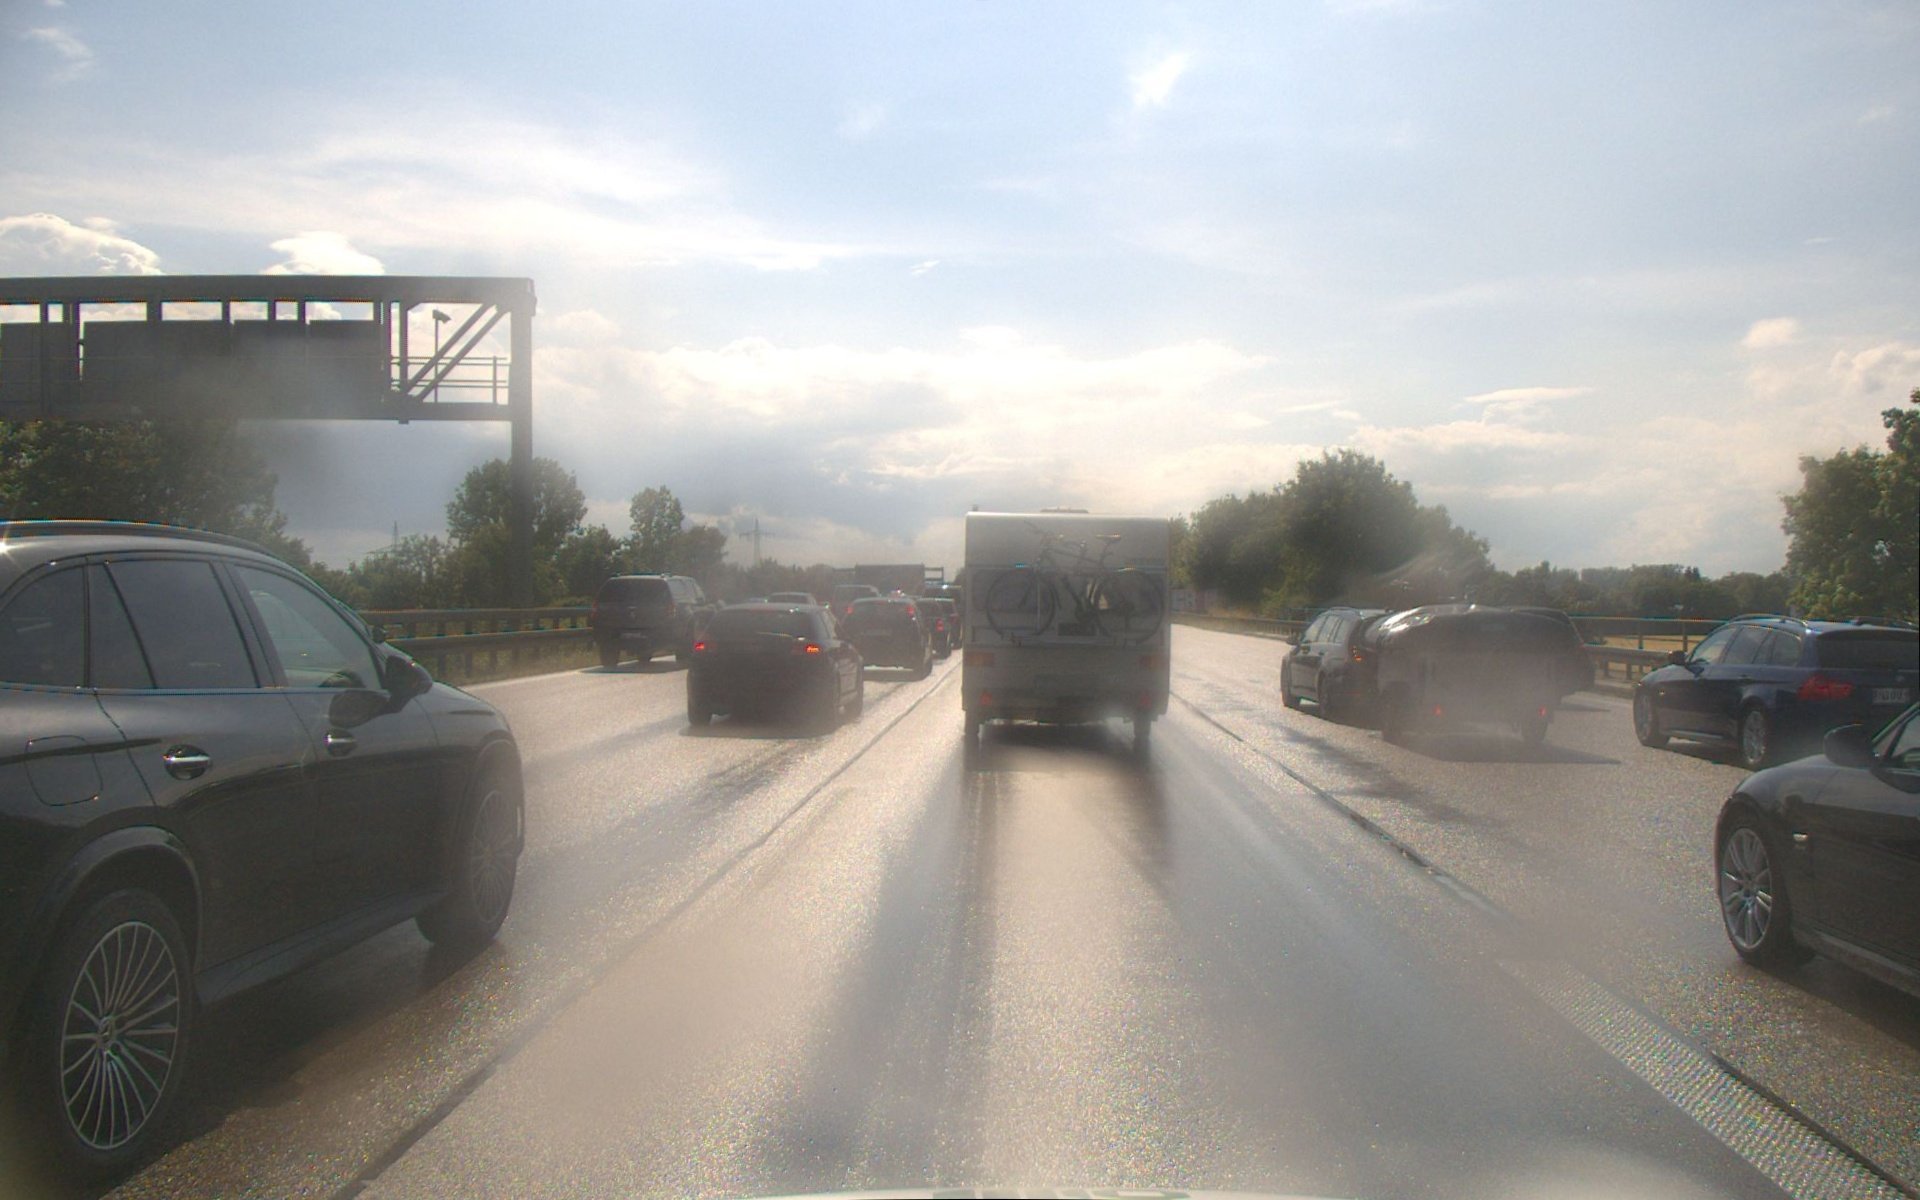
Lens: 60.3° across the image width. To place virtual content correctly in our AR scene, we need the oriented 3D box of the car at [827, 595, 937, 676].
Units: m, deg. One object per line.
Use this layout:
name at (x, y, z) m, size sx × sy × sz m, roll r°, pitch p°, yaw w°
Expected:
car at (-1.451, 0.657, 32.287) m, size 1.768 × 1.432 × 4.001 m, roll 1°, pitch 0°, yaw 2°

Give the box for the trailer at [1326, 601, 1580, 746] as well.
trailer at (5.532, 0.755, 19.100) m, size 1.816 × 1.467 × 4.149 m, roll 0°, pitch 0°, yaw 2°

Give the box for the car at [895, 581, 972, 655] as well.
car at (-0.772, 0.528, 51.039) m, size 1.952 × 2.048 × 4.001 m, roll 4°, pitch 0°, yaw 3°

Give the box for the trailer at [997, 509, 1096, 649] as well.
trailer at (2.973, -0.637, 55.121) m, size 2.944 × 4.239 × 8.540 m, roll 1°, pitch 0°, yaw 4°

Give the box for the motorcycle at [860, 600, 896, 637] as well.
motorcycle at (-2.952, 0.656, 59.926) m, size 1.051 × 1.293 × 2.691 m, roll 1°, pitch 0°, yaw 3°

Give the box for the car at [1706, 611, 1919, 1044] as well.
car at (4.083, 0.780, 5.365) m, size 1.704 × 1.445 × 3.837 m, roll 0°, pitch 0°, yaw 2°

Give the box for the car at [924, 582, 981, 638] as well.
car at (-0.251, 0.385, 64.783) m, size 1.952 × 2.049 × 4.001 m, roll 2°, pitch 0°, yaw 3°

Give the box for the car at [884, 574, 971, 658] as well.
car at (-0.807, 0.403, 43.355) m, size 1.952 × 2.049 × 4.001 m, roll 1°, pitch 0°, yaw 3°

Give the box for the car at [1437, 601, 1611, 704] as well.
car at (8.949, 0.782, 26.536) m, size 1.636 × 1.508 × 3.672 m, roll 0°, pitch 0°, yaw 2°

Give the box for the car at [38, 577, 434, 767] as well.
car at (-6.627, 0.584, 15.704) m, size 1.720 × 1.543 × 4.210 m, roll 0°, pitch 0°, yaw 3°

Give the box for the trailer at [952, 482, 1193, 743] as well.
trailer at (1.218, 0.132, 19.583) m, size 2.325 × 2.526 × 6.524 m, roll 1°, pitch 0°, yaw 2°

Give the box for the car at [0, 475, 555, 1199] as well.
car at (-2.894, 0.585, 5.313) m, size 1.952 × 1.690 × 4.407 m, roll 1°, pitch 0°, yaw 2°

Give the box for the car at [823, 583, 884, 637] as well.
car at (-4.407, 0.398, 68.840) m, size 1.952 × 2.048 × 4.001 m, roll 4°, pitch 0°, yaw 3°

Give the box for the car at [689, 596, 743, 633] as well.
car at (-11.345, 0.641, 77.231) m, size 1.953 × 1.652 × 4.000 m, roll 1°, pitch 0°, yaw 0°

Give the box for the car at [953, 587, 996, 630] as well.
car at (0.769, 0.425, 84.442) m, size 1.952 × 2.049 × 4.001 m, roll 2°, pitch 0°, yaw 3°

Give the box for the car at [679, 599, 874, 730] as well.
car at (-2.118, 0.706, 20.089) m, size 1.720 × 1.411 × 3.946 m, roll 0°, pitch 0°, yaw 3°

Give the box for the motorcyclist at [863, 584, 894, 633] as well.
motorcyclist at (-2.948, 0.308, 59.998) m, size 1.041 × 1.748 × 0.785 m, roll 1°, pitch 0°, yaw 2°

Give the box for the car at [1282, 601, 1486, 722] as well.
car at (5.656, 0.761, 22.563) m, size 1.816 × 1.467 × 4.259 m, roll 0°, pitch 0°, yaw 2°

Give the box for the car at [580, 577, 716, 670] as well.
car at (-6.365, 0.467, 34.150) m, size 1.952 × 1.750 × 4.000 m, roll 1°, pitch 0°, yaw 1°

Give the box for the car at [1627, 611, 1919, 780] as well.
car at (8.318, 0.849, 16.564) m, size 1.734 × 1.426 × 4.291 m, roll 1°, pitch 0°, yaw 3°

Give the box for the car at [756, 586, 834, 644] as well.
car at (-5.337, 0.474, 53.939) m, size 1.952 × 1.803 × 4.001 m, roll 1°, pitch 0°, yaw 3°

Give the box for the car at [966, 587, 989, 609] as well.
car at (1.474, -0.165, 139.712) m, size 1.838 × 1.791 × 3.999 m, roll 1°, pitch 0°, yaw -1°
